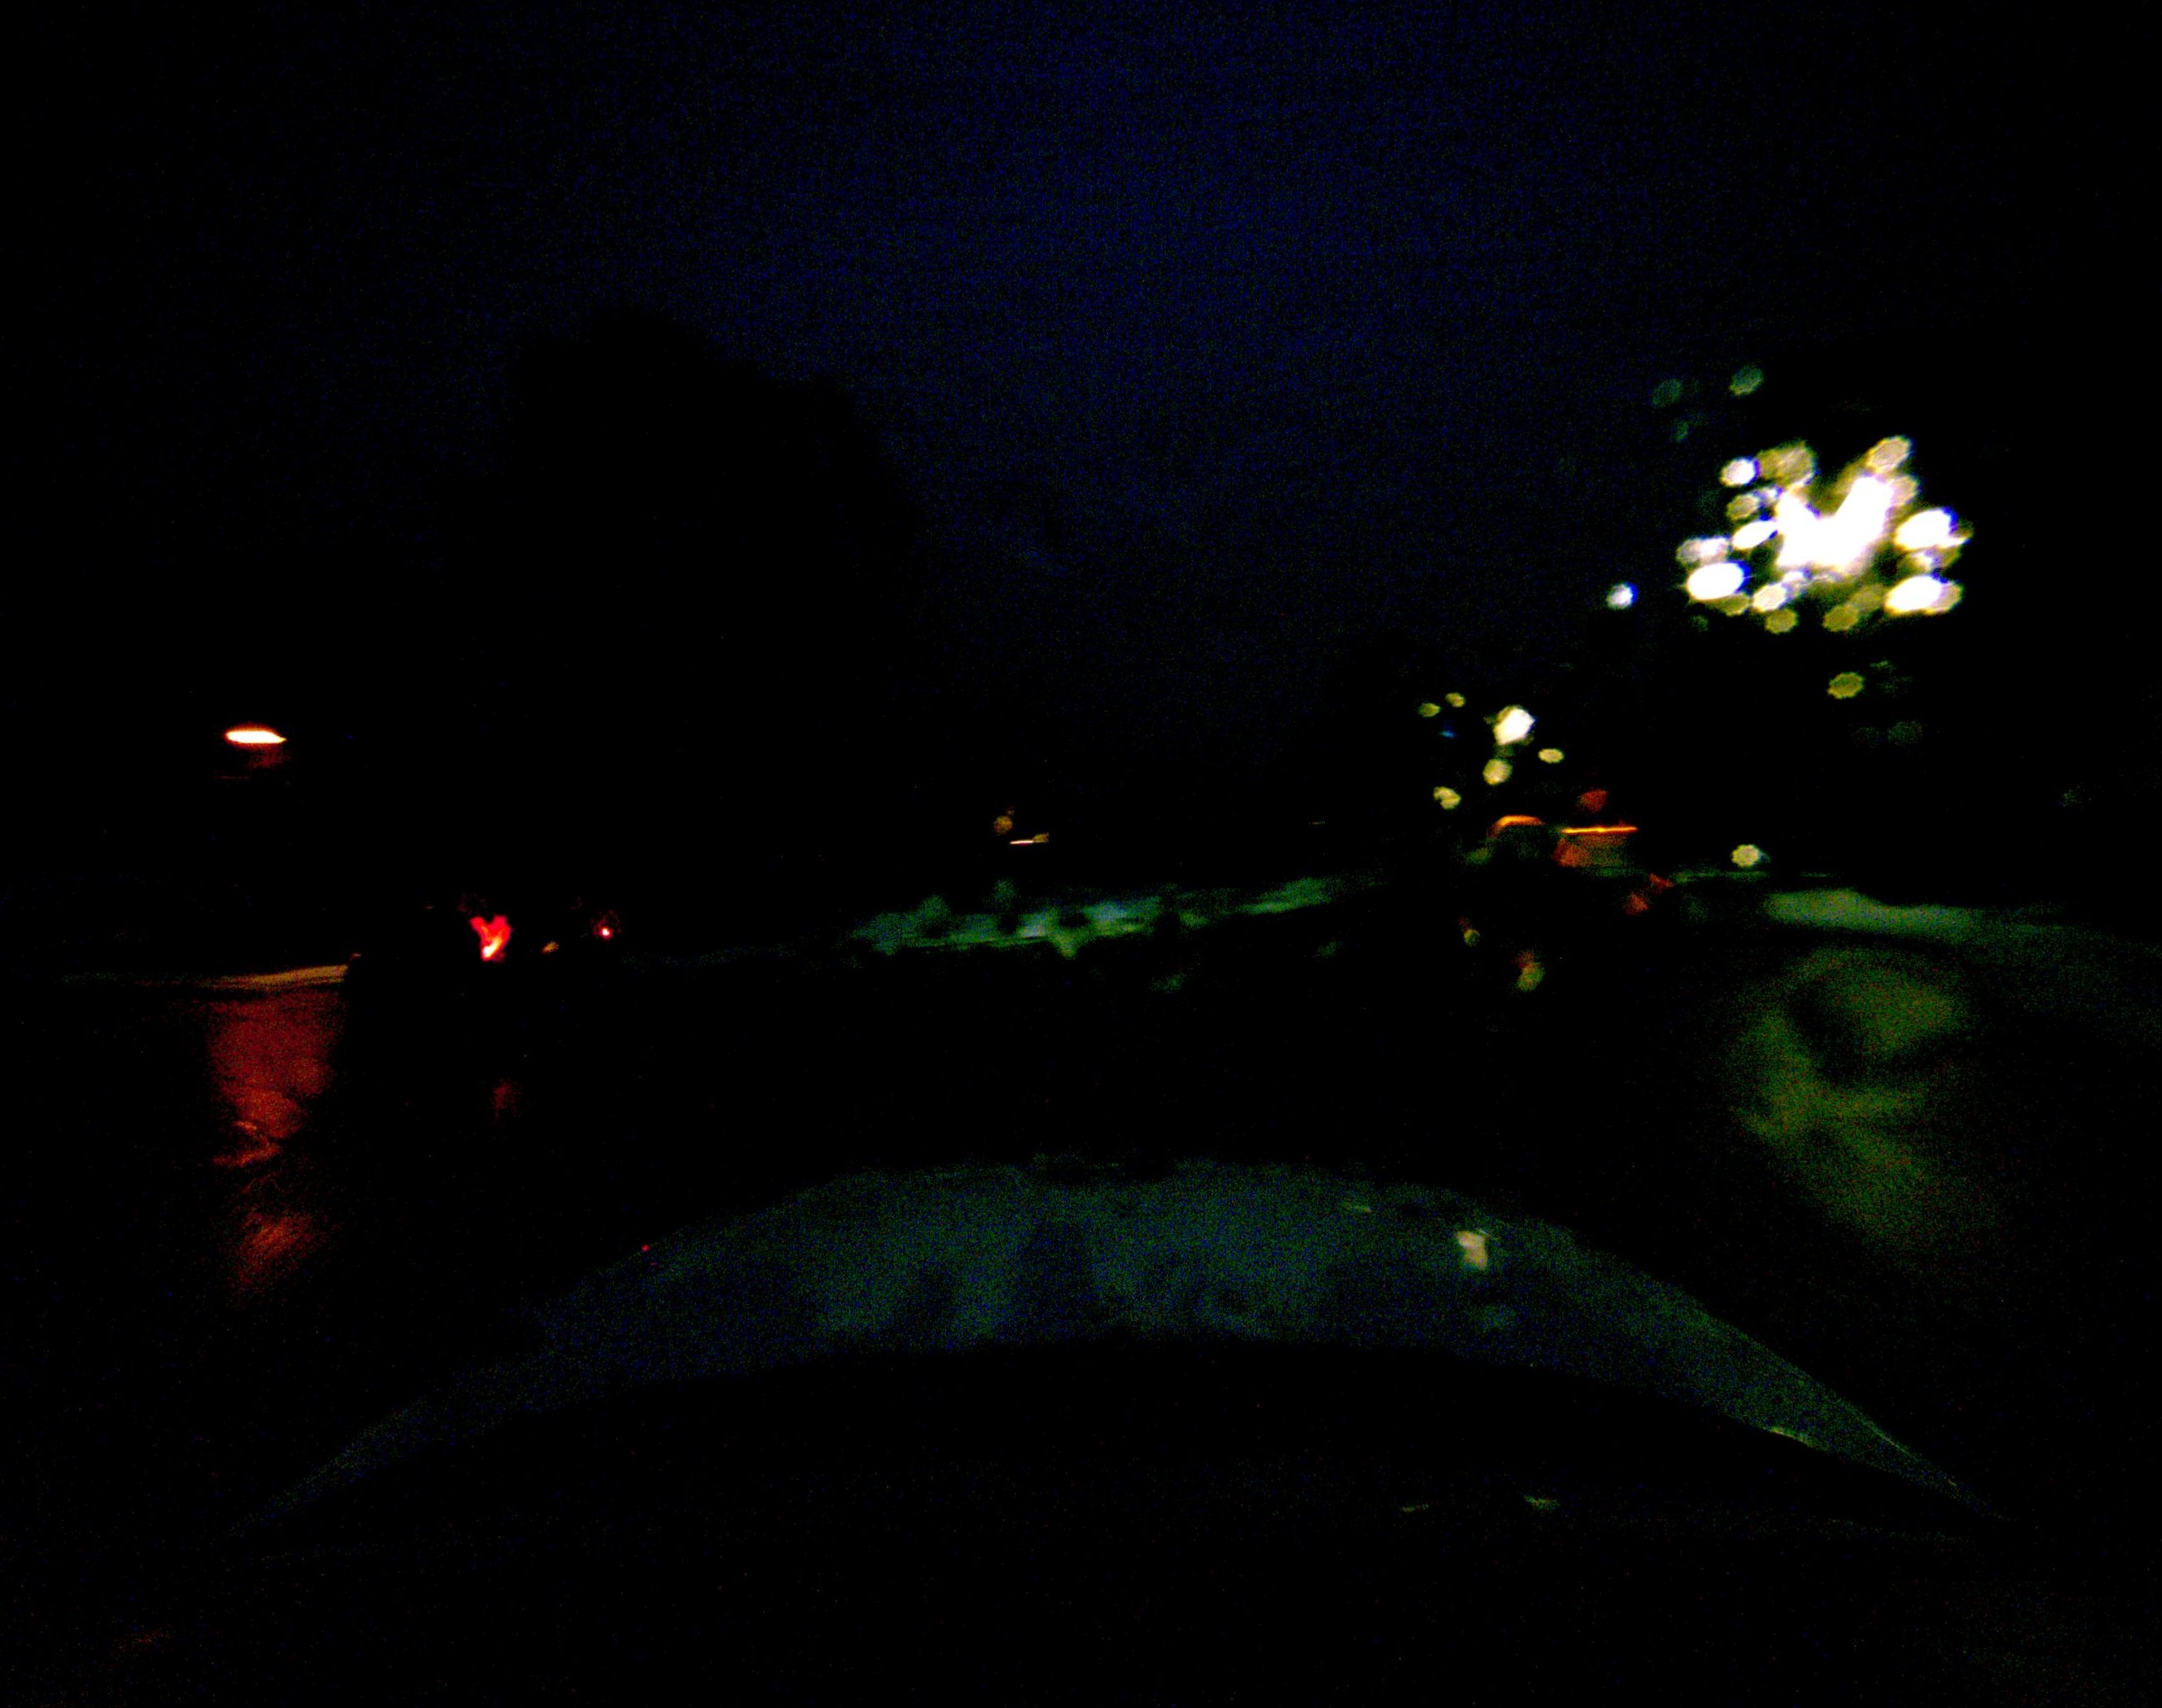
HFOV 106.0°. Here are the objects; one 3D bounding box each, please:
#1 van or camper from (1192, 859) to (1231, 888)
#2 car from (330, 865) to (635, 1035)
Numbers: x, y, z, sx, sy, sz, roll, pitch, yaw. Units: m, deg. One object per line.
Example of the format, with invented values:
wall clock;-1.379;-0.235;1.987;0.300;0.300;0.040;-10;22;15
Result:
van or camper;5.281;0.816;33.308;1.277;1.101;3.275;0;-2;4
car;-7.689;1.117;10.431;3.531;1.797;1.840;-3;-1;30
